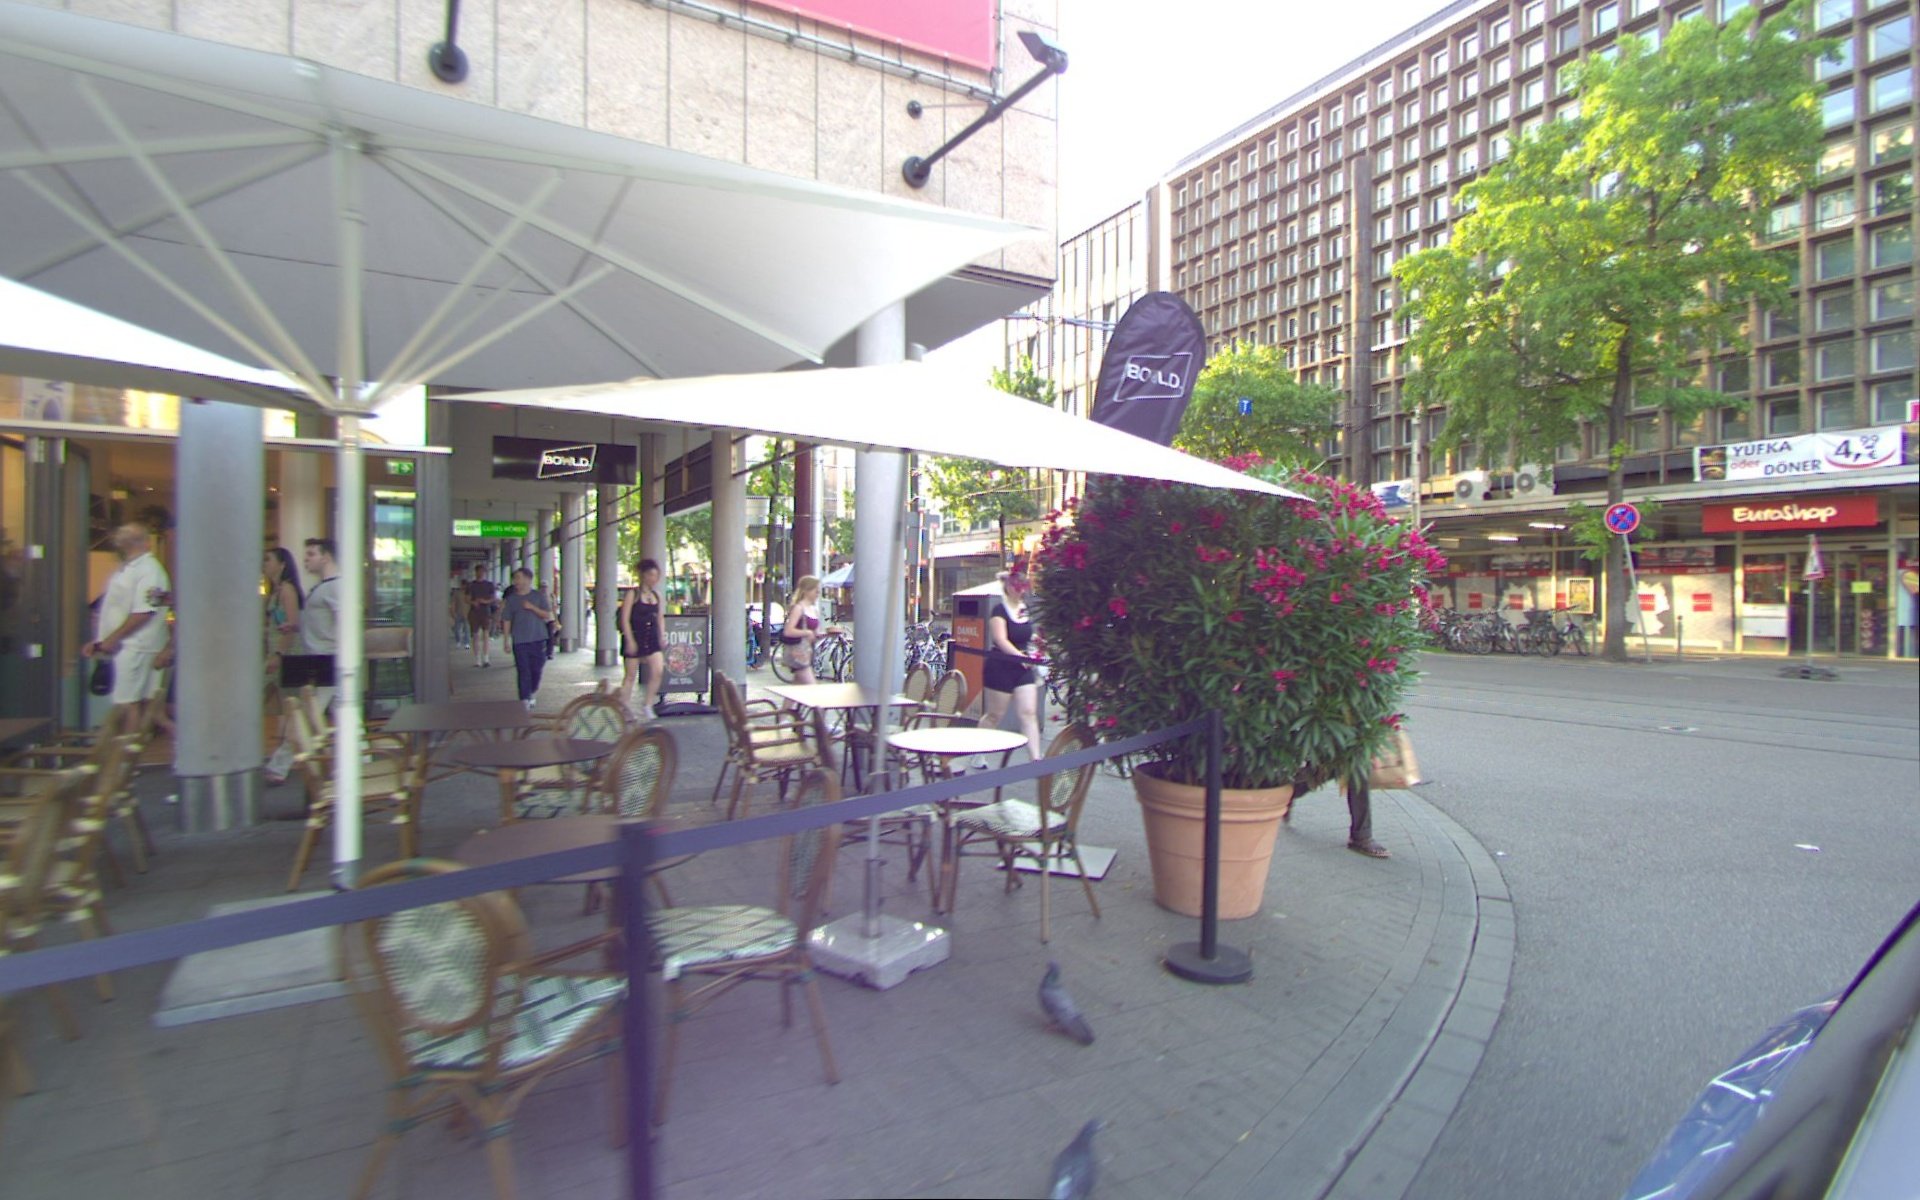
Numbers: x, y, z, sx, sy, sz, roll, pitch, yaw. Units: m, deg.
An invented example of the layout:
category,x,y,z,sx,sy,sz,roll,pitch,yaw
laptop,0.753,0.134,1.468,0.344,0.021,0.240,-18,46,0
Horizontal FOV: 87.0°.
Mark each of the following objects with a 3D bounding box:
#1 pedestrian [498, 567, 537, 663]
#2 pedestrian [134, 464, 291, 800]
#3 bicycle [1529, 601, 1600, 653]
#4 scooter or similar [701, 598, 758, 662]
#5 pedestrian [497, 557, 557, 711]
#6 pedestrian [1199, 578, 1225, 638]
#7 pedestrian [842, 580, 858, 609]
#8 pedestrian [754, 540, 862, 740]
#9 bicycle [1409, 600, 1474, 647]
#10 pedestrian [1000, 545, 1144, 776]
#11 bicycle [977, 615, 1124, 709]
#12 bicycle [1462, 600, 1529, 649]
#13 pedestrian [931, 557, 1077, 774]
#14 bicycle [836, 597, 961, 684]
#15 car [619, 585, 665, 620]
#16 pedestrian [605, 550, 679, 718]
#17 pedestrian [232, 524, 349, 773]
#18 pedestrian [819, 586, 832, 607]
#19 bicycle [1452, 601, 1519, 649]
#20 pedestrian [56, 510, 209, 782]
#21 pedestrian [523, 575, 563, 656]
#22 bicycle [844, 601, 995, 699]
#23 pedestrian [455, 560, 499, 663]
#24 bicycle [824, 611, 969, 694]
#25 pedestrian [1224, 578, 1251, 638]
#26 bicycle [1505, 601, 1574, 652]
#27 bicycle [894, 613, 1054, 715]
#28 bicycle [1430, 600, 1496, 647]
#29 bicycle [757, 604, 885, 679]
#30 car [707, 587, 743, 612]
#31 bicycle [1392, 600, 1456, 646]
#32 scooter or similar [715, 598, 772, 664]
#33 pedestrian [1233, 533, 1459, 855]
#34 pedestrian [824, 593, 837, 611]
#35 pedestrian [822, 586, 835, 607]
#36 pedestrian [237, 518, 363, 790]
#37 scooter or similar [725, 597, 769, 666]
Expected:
category,x,y,z,sx,sy,sz,roll,pitch,yaw
pedestrian,-8.386,0.270,19.154,0.572,1.775,0.774,1,-1,-29
pedestrian,-4.863,0.194,6.638,0.674,2.039,0.784,1,-1,-28
bicycle,13.288,0.576,22.235,1.742,1.058,0.490,-2,0,-28
scooter or similar,-4.693,0.603,20.607,0.493,1.267,1.103,0,-1,31
pedestrian,-5.109,0.385,11.941,0.560,1.753,0.618,1,-1,-29
pedestrian,7.353,0.220,29.525,0.592,1.721,0.536,-1,0,1
pedestrian,-7.071,-0.363,65.066,0.672,1.814,0.991,-3,2,-29
pedestrian,-1.448,0.354,9.605,0.760,1.795,0.775,1,0,-29
bicycle,11.870,0.565,24.922,1.742,1.058,0.490,-2,0,-28
pedestrian,0.883,0.449,8.050,0.789,1.716,0.811,1,-1,-32
bicycle,1.175,0.773,12.964,1.821,1.123,0.667,2,-1,-31
bicycle,12.544,0.564,23.701,1.742,1.058,0.490,-2,0,-28
pedestrian,0.331,0.470,7.811,0.789,1.556,0.811,1,-1,-32
bicycle,-0.994,0.658,16.500,1.883,1.350,0.726,3,-2,-33
car,-19.076,0.137,60.612,1.959,2.039,4.005,0,0,-28
pedestrian,-3.447,0.355,10.966,0.625,1.753,0.618,1,-1,-29
pedestrian,-5.157,0.352,7.836,0.651,1.809,0.720,1,0,-28
pedestrian,-9.776,-0.263,73.432,0.650,1.451,0.644,-5,3,-28
bicycle,12.432,0.570,23.917,1.742,1.058,0.490,-2,0,-28
pedestrian,-6.030,0.315,7.419,0.651,1.872,0.721,1,0,-23
pedestrian,-8.919,0.326,21.656,0.675,1.679,0.774,1,-1,-29
bicycle,-0.527,0.667,13.637,1.883,1.238,0.763,3,-2,-33
pedestrian,-9.113,0.213,19.077,0.675,1.907,0.774,1,-1,-29
bicycle,-0.878,0.741,14.296,1.883,1.091,0.763,3,-2,-33
pedestrian,8.017,0.220,29.258,0.592,1.721,0.536,-1,0,1
bicycle,13.045,0.577,22.765,1.742,1.058,0.490,-2,0,-28
bicycle,0.182,0.739,12.088,1.821,1.123,0.667,2,-1,-31
bicycle,12.138,0.555,24.417,1.742,1.058,0.490,-2,0,-28
bicycle,-2.302,0.693,16.871,1.963,1.170,0.726,3,-2,-33
car,-18.630,-0.044,80.139,1.795,1.844,4.336,-3,1,-27
bicycle,11.641,0.561,25.358,1.742,1.058,0.490,-2,0,-28
scooter or similar,-4.253,0.606,19.933,0.390,1.267,1.177,0,-1,32
pedestrian,2.280,0.498,6.033,0.758,1.719,0.997,-1,0,-37
pedestrian,-9.064,0.131,70.775,0.630,1.171,0.666,-3,2,-30
pedestrian,-9.427,-0.254,72.802,0.650,1.451,0.644,-5,3,-28
pedestrian,-4.663,0.360,7.200,0.651,1.809,0.720,1,0,-28
scooter or similar,-4.036,0.595,19.235,0.387,1.267,1.187,0,-1,10
